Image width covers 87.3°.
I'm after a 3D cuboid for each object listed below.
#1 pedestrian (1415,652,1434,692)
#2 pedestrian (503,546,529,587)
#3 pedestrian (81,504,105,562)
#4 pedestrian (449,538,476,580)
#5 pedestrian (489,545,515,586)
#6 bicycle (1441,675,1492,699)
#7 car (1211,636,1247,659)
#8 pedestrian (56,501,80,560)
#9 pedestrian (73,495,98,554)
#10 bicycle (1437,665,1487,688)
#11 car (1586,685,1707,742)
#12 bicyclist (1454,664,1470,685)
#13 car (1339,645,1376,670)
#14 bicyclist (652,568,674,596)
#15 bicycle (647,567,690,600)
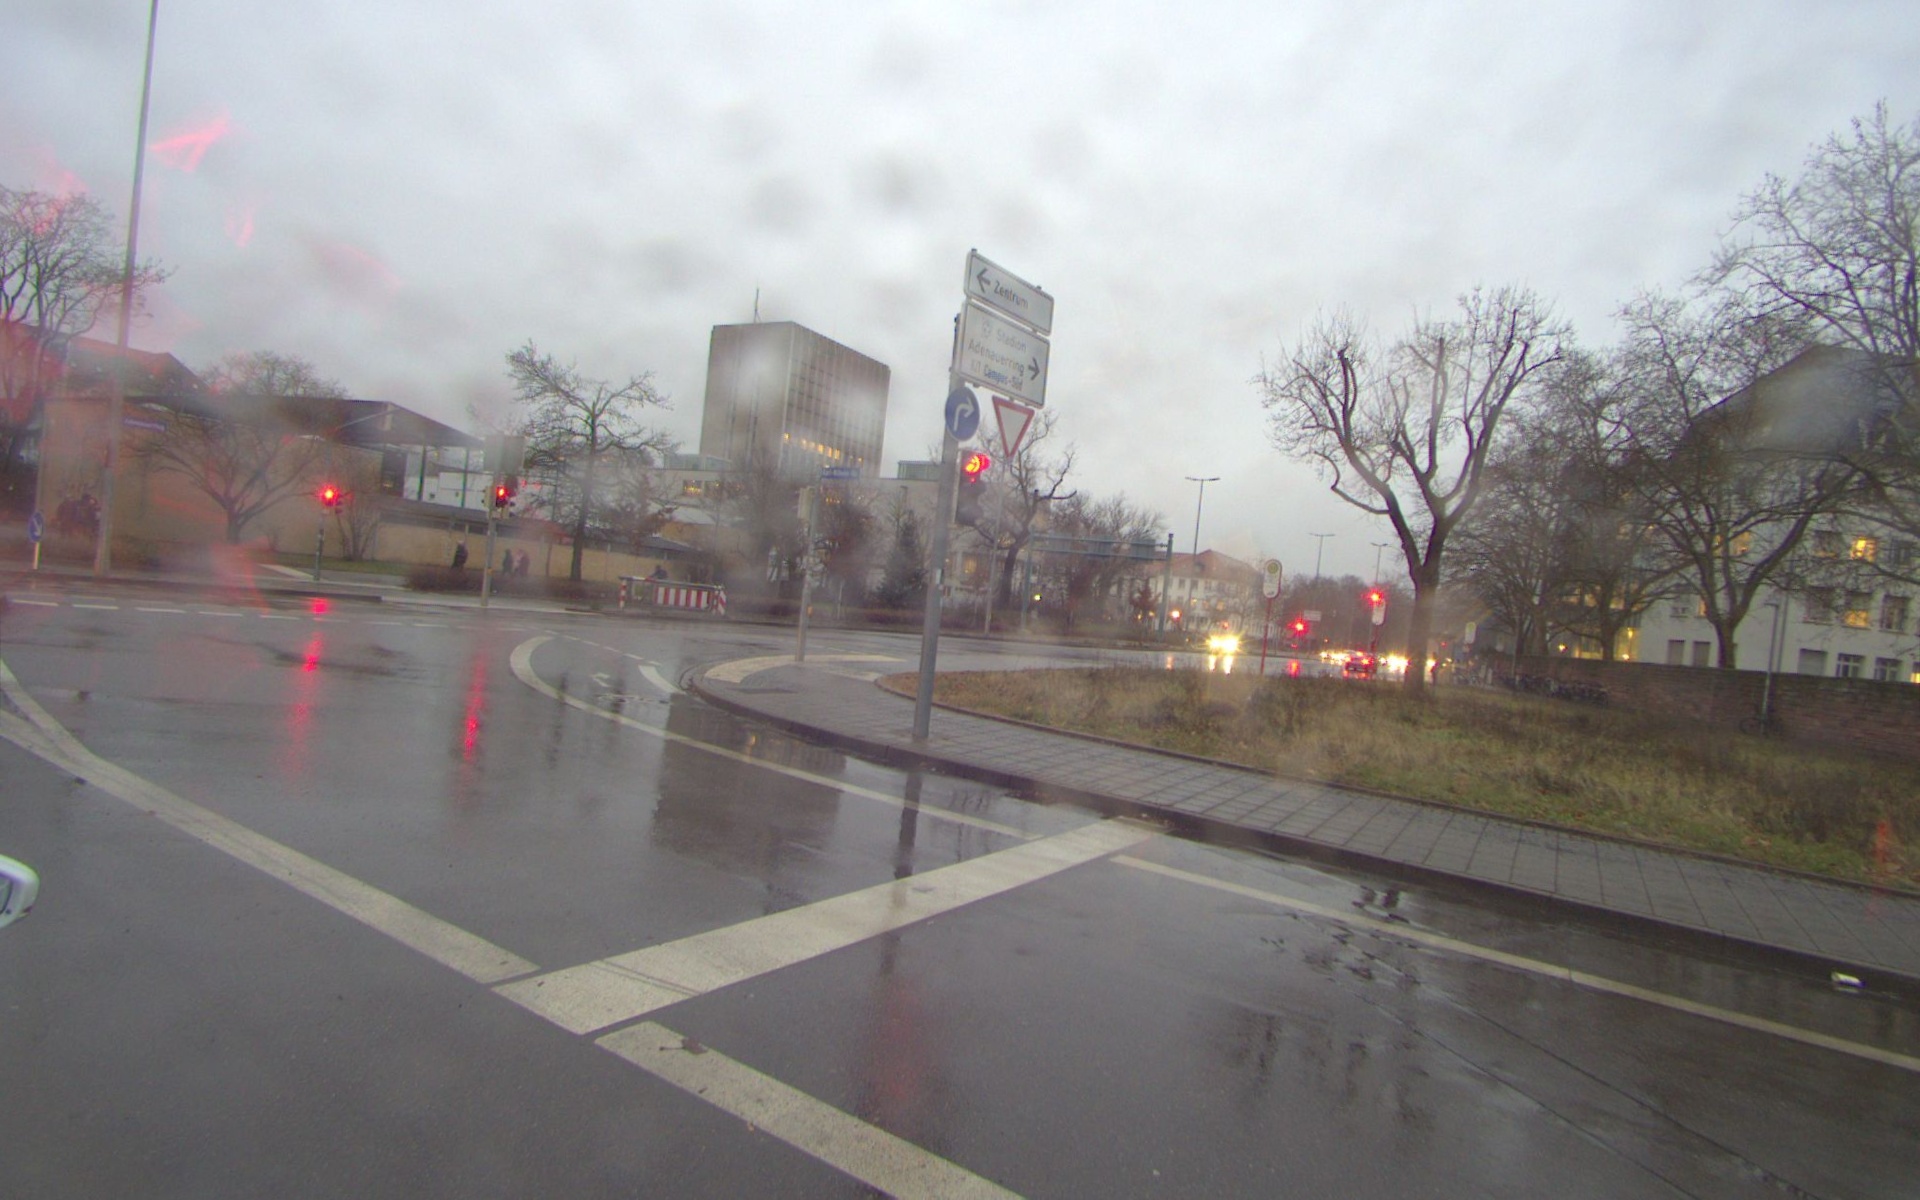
[{"bbox_3d":[22.464,3.472,48.673,0.633,1.857,0.836,5,-1,23],"label":"pedestrian"},{"bbox_3d":[-19.671,-1.482,44.584,0.749,1.745,0.623,5,-1,38],"label":"pedestrian"},{"bbox_3d":[-28.886,-2.228,33.526,0.435,1.860,0.455,6,-1,-40],"label":"pedestrian"},{"bbox_3d":[-21.437,-1.764,43.338,0.749,1.745,0.623,5,-1,38],"label":"pedestrian"},{"bbox_3d":[-20.548,-1.551,45.141,0.749,1.745,0.623,5,-1,38],"label":"pedestrian"},{"bbox_3d":[27.417,4.713,54.446,2.373,1.003,0.479,5,-2,31],"label":"bicycle"},{"bbox_3d":[24.395,4.325,91.086,1.720,1.670,4.237,5,-3,35],"label":"car"},{"bbox_3d":[-29.459,-2.291,33.228,0.436,1.860,0.455,7,-1,-40],"label":"pedestrian"},{"bbox_3d":[-28.475,-2.459,32.754,0.456,1.860,0.434,7,-1,-41],"label":"pedestrian"},{"bbox_3d":[27.545,4.193,55.187,2.373,1.003,0.537,5,-2,31],"label":"bicycle"},{"bbox_3d":[15.555,2.570,22.764,2.656,0.989,1.290,7,1,-34],"label":"car"},{"bbox_3d":[27.212,4.030,54.520,0.690,1.092,0.494,5,-1,32],"label":"bicyclist"},{"bbox_3d":[31.668,4.579,80.050,1.861,1.670,3.635,5,-3,35],"label":"car"},{"bbox_3d":[-14.679,-0.880,49.765,0.599,1.261,0.697,5,-2,40],"label":"bicyclist"},{"bbox_3d":[-14.477,-0.819,50.031,0.584,1.439,1.922,5,-2,40],"label":"bicycle"}]
